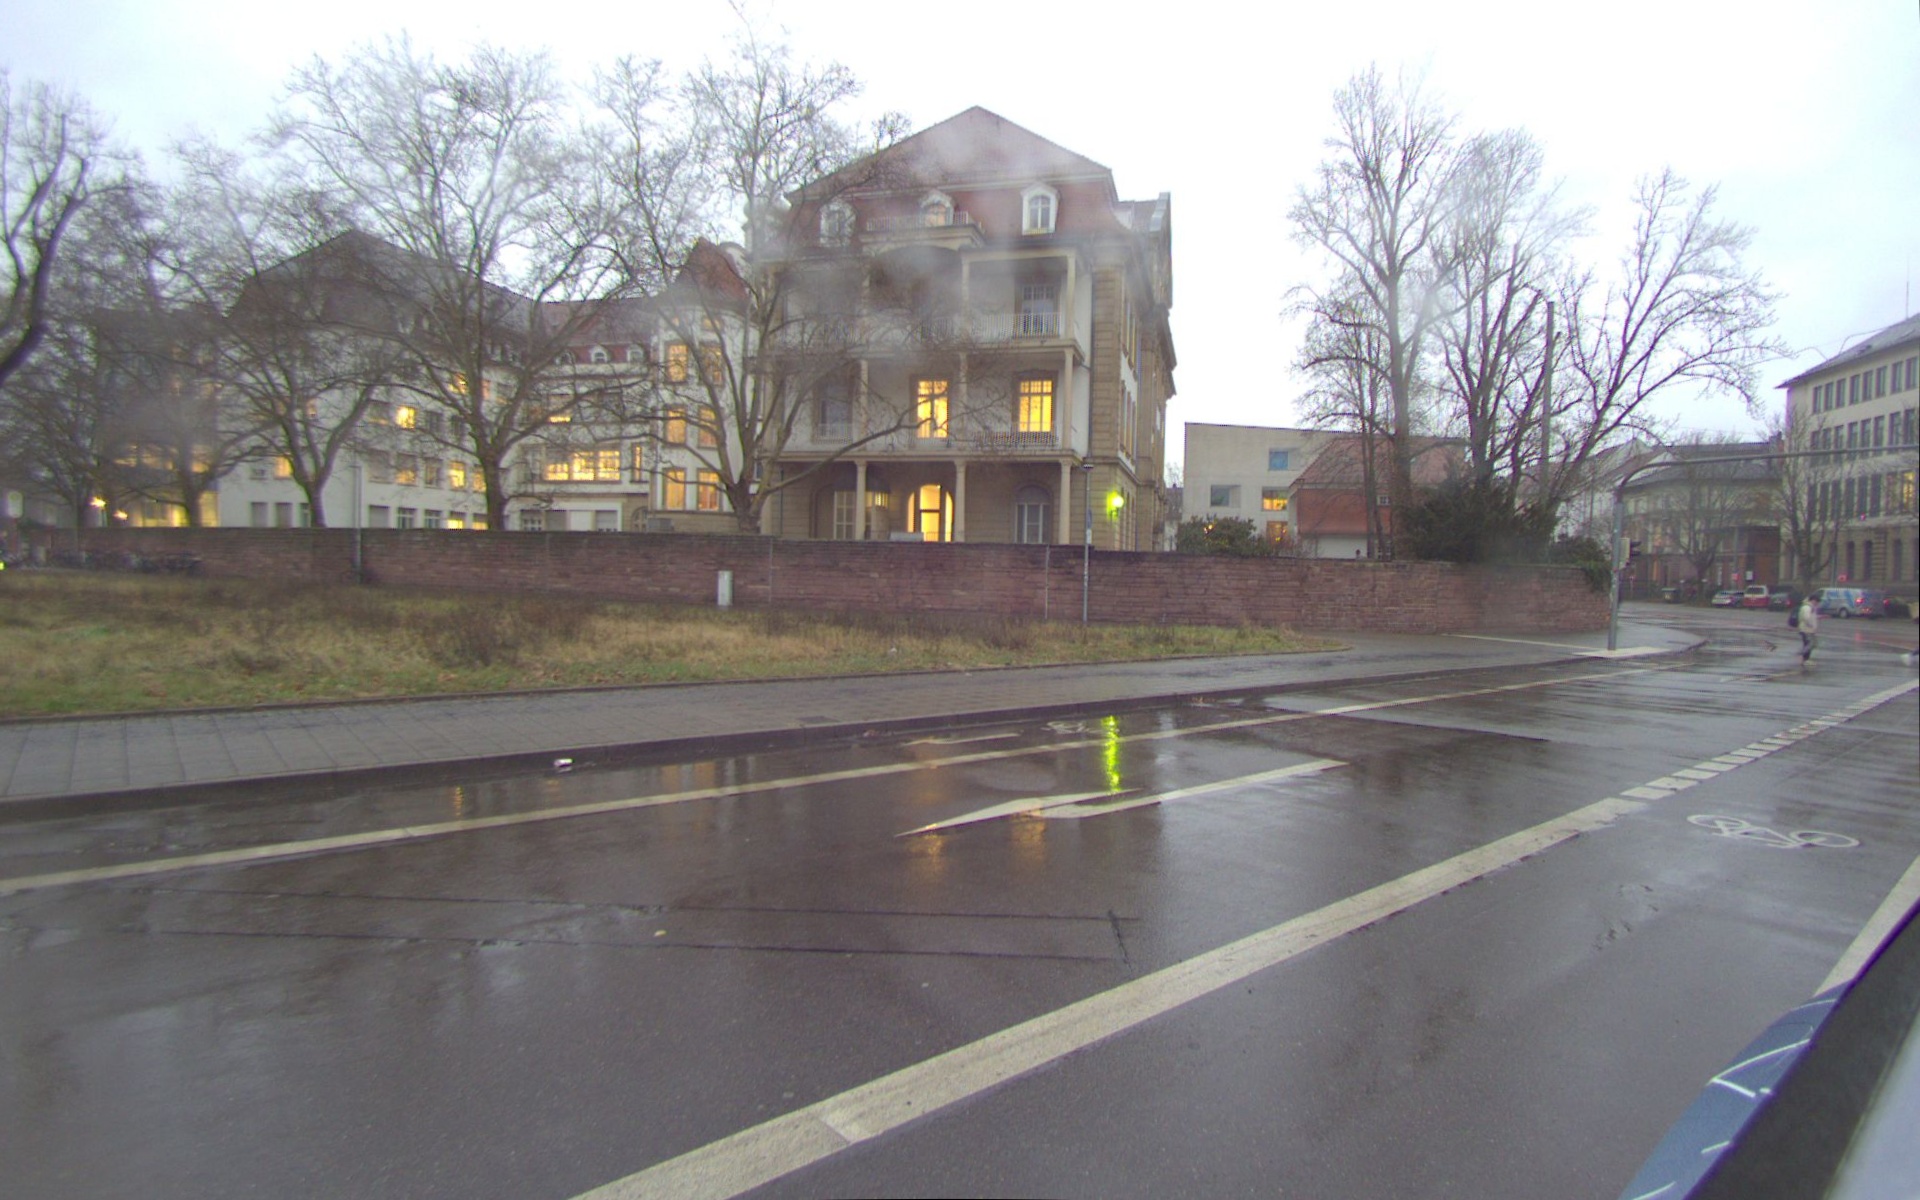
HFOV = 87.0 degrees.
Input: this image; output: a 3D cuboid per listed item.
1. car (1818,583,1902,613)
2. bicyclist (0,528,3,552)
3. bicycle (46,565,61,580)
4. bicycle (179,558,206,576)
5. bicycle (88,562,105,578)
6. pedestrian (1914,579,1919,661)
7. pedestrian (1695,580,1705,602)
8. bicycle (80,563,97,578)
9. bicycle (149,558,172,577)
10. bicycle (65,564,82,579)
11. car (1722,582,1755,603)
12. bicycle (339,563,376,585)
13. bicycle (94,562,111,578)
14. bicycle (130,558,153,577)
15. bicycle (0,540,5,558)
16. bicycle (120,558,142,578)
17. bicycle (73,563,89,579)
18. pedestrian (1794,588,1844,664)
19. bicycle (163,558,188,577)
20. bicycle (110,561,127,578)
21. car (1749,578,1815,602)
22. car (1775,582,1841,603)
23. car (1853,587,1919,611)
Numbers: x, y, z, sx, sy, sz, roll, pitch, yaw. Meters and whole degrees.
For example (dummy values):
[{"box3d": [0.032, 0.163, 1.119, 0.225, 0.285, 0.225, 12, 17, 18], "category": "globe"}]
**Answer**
[{"box3d": [57.823, -0.146, 65.098, 1.849, 1.868, 3.999, 0, 0, 1], "category": "car"}, {"box3d": [-68.056, -4.235, 71.506, 0.450, 1.662, 0.603, 0, 0, 37], "category": "bicyclist"}, {"box3d": [-51.614, -1.551, 57.598, 1.522, 0.796, 0.389, 0, 0, 38], "category": "bicycle"}, {"box3d": [-34.215, -1.470, 45.116, 1.399, 0.796, 0.355, 0, 0, 26], "category": "bicycle"}, {"box3d": [-44.184, -1.533, 51.773, 1.522, 0.796, 0.389, 0, 0, 38], "category": "bicycle"}, {"box3d": [23.322, 0.500, 23.891, 0.993, 1.924, 0.666, 3, 3, 35], "category": "pedestrian"}, {"box3d": [68.985, -0.879, 94.333, 0.468, 2.038, 0.545, 2, 2, 15], "category": "pedestrian"}, {"box3d": [-45.447, -1.536, 52.747, 1.522, 0.796, 0.389, 0, 0, 38], "category": "bicycle"}, {"box3d": [-37.036, -1.500, 46.891, 1.480, 0.849, 0.346, 0, 0, 32], "category": "bicycle"}, {"box3d": [-47.901, -1.542, 54.679, 1.522, 0.796, 0.389, 0, 0, 38], "category": "bicycle"}, {"box3d": [66.475, -0.646, 86.396, 1.992, 1.690, 3.940, 0, 1, 42], "category": "car"}, {"box3d": [-23.389, -0.989, 39.277, 1.366, 0.835, 0.392, 0, 0, 14], "category": "bicycle"}, {"box3d": [-43.136, -1.499, 50.902, 1.522, 0.796, 0.389, 0, 0, 38], "category": "bicycle"}, {"box3d": [-38.631, -1.510, 47.773, 1.519, 0.869, 0.389, 0, 0, 33], "category": "bicycle"}, {"box3d": [-68.048, -3.597, 71.497, 1.670, 1.182, 0.603, 0, 0, 37], "category": "bicycle"}, {"box3d": [-39.913, -1.542, 48.727, 1.519, 0.928, 0.389, 0, 0, 33], "category": "bicycle"}, {"box3d": [-46.677, -1.539, 53.725, 1.522, 0.796, 0.389, 0, 0, 38], "category": "bicycle"}, {"box3d": [20.520, 0.600, 24.187, 0.796, 1.744, 0.663, 4, 3, 44], "category": "pedestrian"}, {"box3d": [-35.555, -1.471, 45.865, 1.519, 0.796, 0.389, 0, 0, 33], "category": "bicycle"}, {"box3d": [-41.479, -1.479, 49.882, 1.599, 0.796, 0.388, 0, 0, 41], "category": "bicycle"}, {"box3d": [64.975, -0.793, 80.031, 3.916, 1.924, 2.052, 0, 0, -13], "category": "car"}, {"box3d": [64.694, -0.586, 77.234, 3.916, 1.570, 1.805, 0, 0, -13], "category": "car"}, {"box3d": [61.957, -0.060, 67.014, 3.927, 1.570, 1.800, 0, 0, 4], "category": "car"}]
